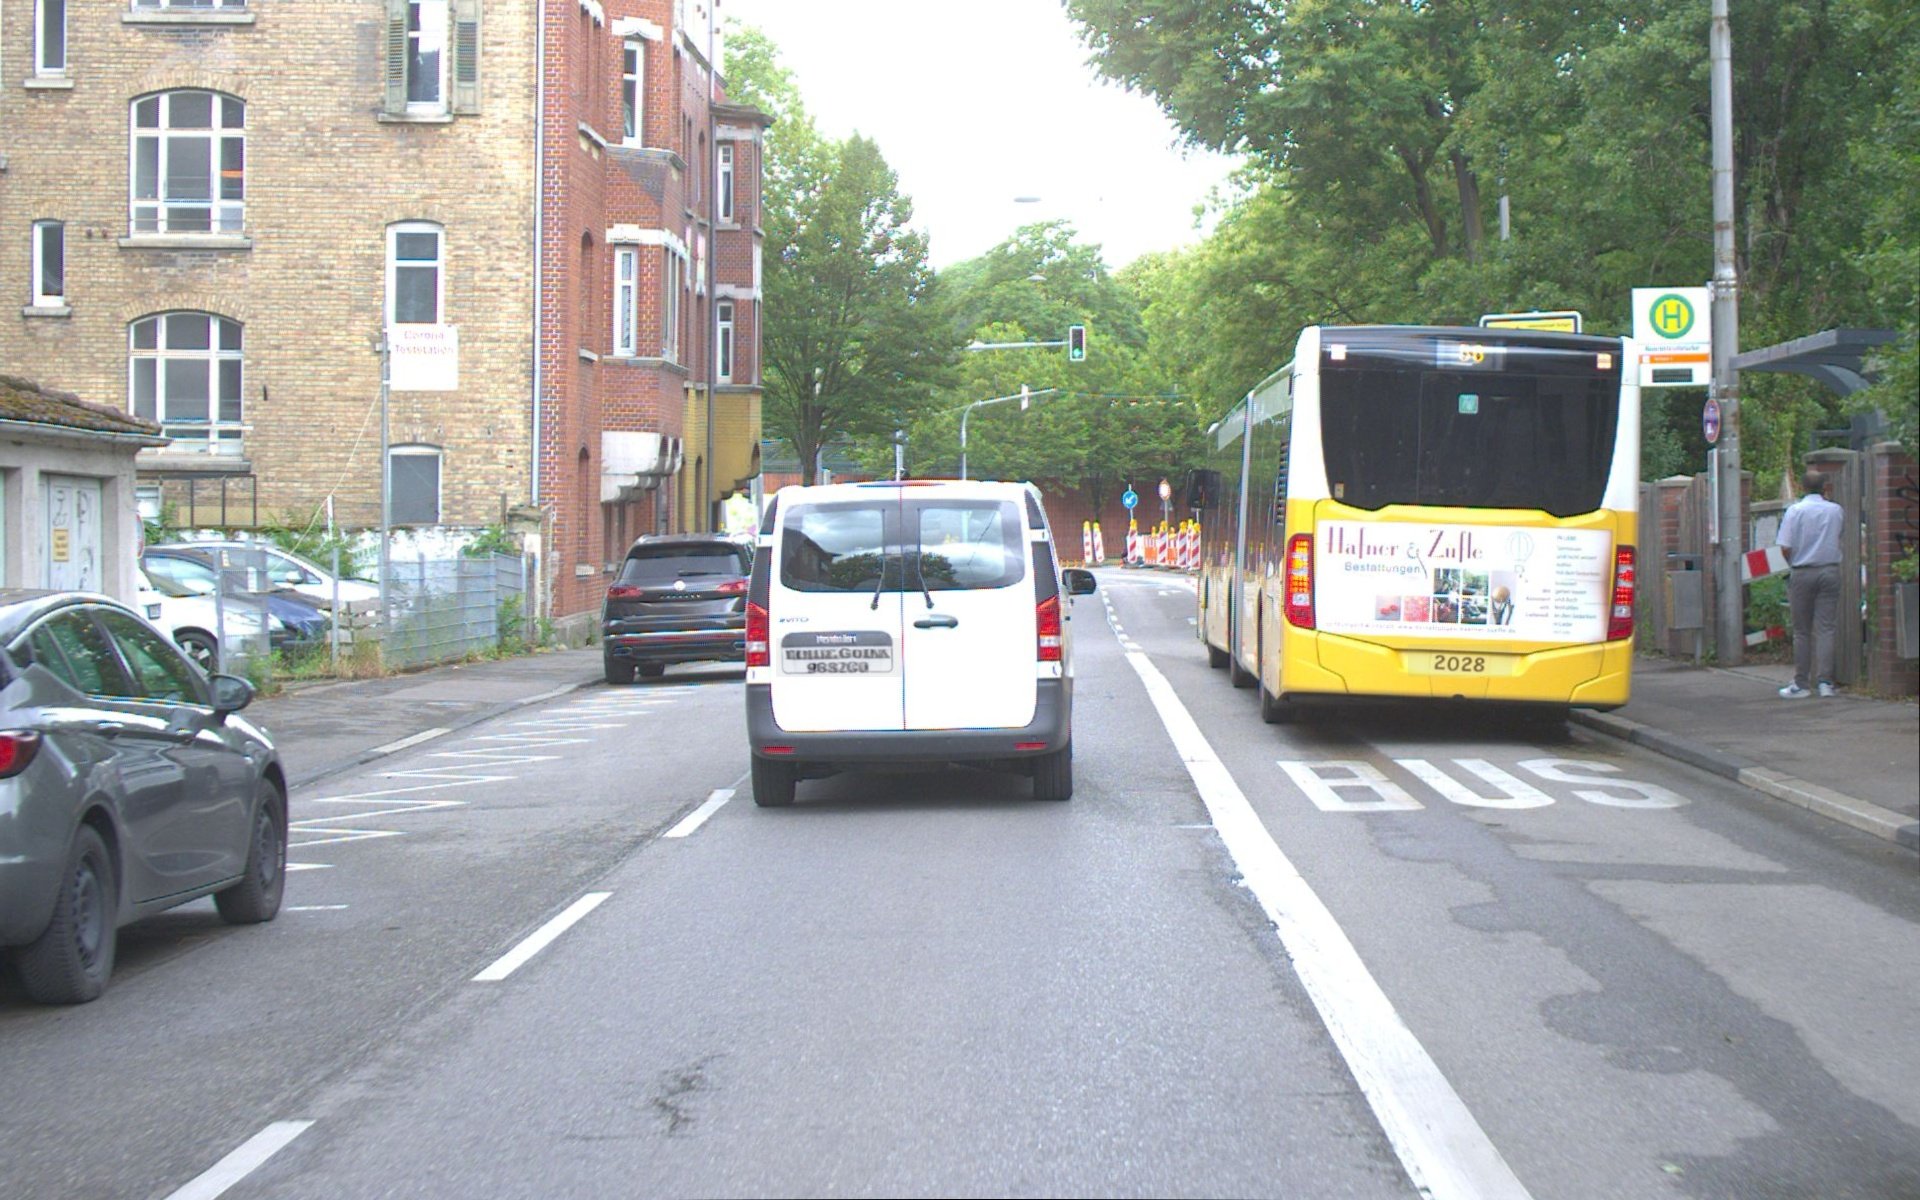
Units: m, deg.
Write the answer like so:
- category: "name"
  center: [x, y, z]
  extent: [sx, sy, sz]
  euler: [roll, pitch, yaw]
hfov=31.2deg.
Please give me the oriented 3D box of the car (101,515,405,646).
- category: "car"
  center: [-9.346, -0.265, 45.609]
  extent: [3.596, 1.606, 1.688]
  euler: [-2, 1, 3]

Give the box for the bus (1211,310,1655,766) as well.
- category: "bus"
  center: [3.688, -0.536, 29.213]
  extent: [2.663, 3.125, 10.040]
  euler: [2, 1, 2]

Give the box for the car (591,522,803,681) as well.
- category: "car"
  center: [-2.999, -0.036, 40.113]
  extent: [1.954, 1.728, 4.774]
  euler: [0, 1, 2]

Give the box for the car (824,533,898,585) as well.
- category: "car"
  center: [-3.201, -1.327, 110.200]
  extent: [2.036, 1.480, 4.392]
  euler: [0, 3, -6]

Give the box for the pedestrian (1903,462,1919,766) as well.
- category: "pedestrian"
  center: [5.883, 0.088, 19.904]
  extent: [0.582, 1.773, 0.821]
  euler: [2, 1, 2]

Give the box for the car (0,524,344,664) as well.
- category: "car"
  center: [-9.245, -0.084, 40.377]
  extent: [3.596, 1.499, 1.853]
  euler: [-2, 1, 3]

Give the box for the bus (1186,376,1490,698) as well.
- category: "bus"
  center: [4.065, -0.718, 38.822]
  extent: [2.672, 3.128, 9.217]
  euler: [2, 1, 2]

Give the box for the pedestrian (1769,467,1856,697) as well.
- category: "pedestrian"
  center: [6.750, -0.147, 27.229]
  extent: [0.450, 1.773, 0.672]
  euler: [-3, 1, 2]

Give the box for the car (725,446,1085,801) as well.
- category: "car"
  center: [-0.313, 0.161, 21.360]
  extent: [1.917, 1.895, 4.701]
  euler: [2, -1, 0]

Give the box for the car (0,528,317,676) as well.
- category: "car"
  center: [-9.150, 0.022, 37.826]
  extent: [3.723, 1.499, 1.853]
  euler: [-2, 1, 3]

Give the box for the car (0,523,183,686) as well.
- category: "car"
  center: [-9.546, 0.052, 34.788]
  extent: [2.847, 1.559, 1.853]
  euler: [-2, 1, 3]

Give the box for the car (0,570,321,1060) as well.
- category: "car"
  center: [-3.849, 0.671, 13.179]
  extent: [1.878, 1.481, 4.127]
  euler: [2, 1, 2]
